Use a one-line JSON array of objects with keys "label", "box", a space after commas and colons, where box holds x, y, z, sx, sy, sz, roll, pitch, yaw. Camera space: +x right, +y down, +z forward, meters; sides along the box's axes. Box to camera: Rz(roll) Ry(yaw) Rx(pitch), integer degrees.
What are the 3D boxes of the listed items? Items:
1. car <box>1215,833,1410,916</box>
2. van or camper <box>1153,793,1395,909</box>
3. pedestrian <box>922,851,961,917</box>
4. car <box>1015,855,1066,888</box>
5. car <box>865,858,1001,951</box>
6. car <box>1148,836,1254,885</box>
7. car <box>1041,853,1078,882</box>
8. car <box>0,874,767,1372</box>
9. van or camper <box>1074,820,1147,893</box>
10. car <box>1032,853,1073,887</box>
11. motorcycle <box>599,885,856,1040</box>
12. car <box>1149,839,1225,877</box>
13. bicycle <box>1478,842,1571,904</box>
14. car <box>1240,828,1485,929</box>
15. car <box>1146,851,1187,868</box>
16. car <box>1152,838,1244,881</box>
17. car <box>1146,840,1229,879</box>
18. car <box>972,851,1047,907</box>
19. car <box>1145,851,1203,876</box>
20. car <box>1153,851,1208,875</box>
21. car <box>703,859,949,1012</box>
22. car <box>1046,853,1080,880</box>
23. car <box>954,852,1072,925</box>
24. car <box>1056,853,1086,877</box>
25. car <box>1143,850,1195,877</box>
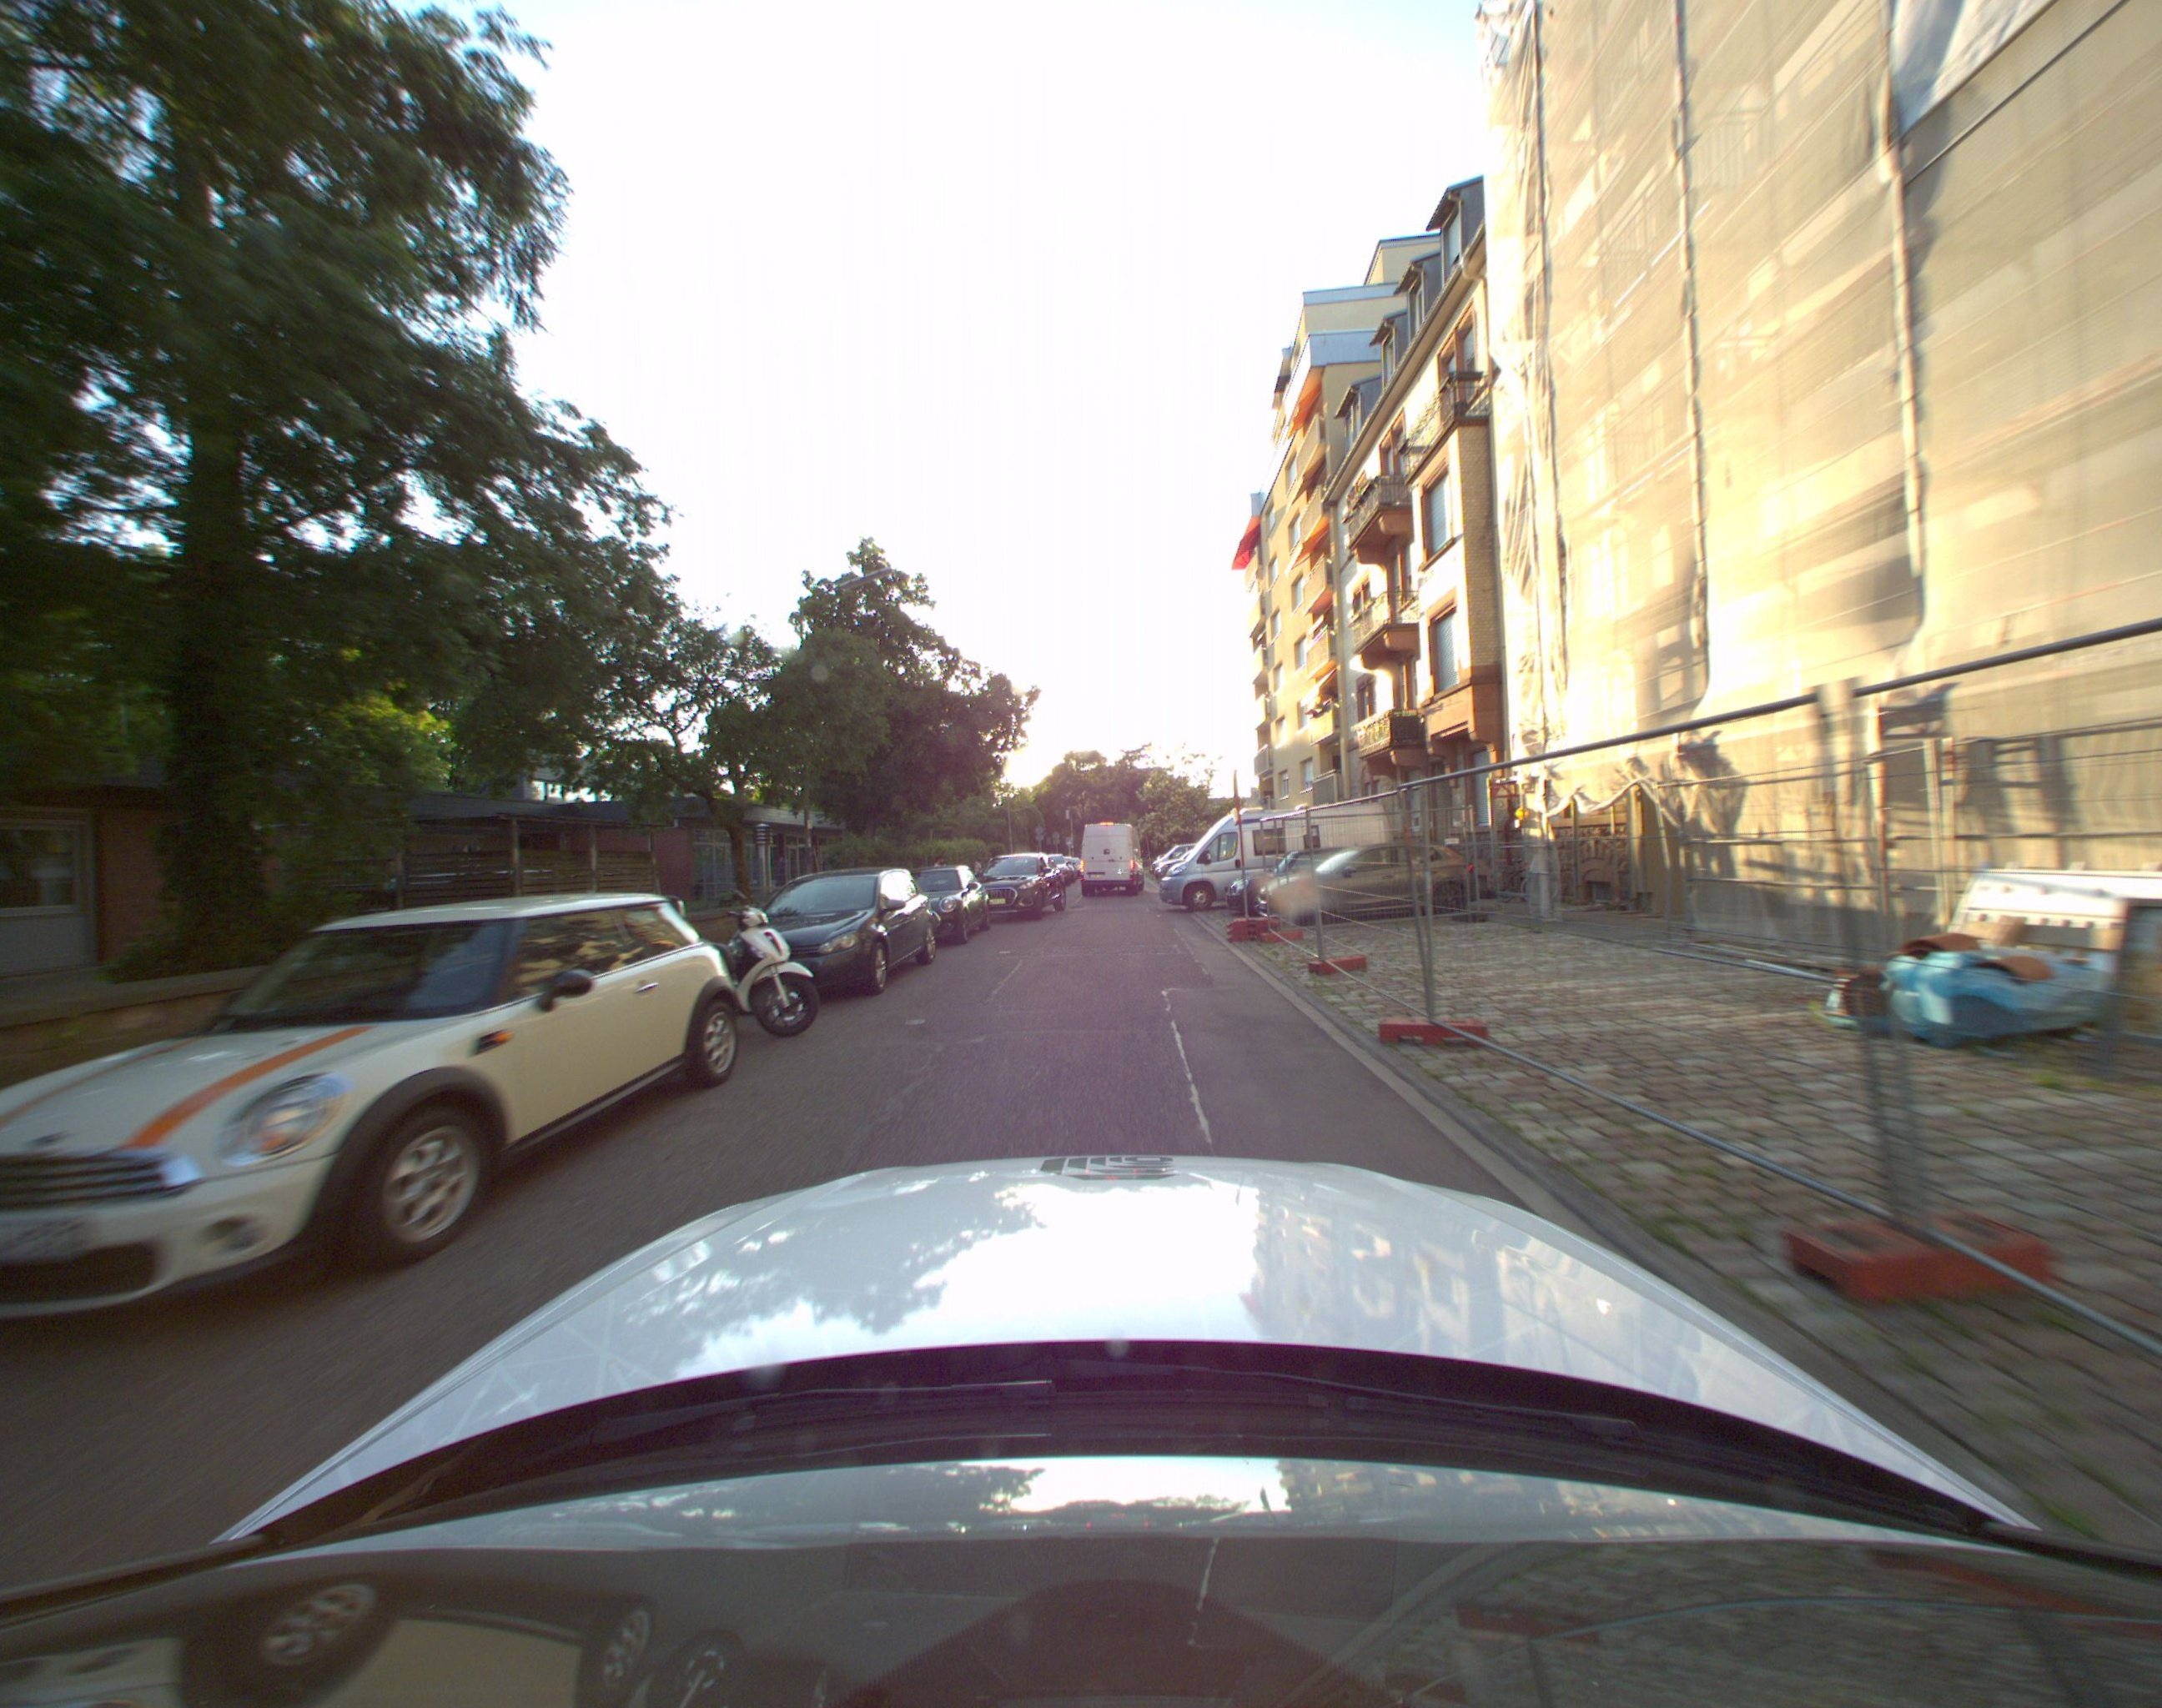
[{"label": "car", "box": [5.185, 0.471, 18.654, 3.918, 1.486, 1.788, -5, -2, 3]}, {"label": "van or camper", "box": [4.964, -0.065, 21.604, 5.907, 2.770, 2.110, -1, 0, 1]}, {"label": "pedestrian", "box": [-3.988, 0.856, 23.305, 0.934, 1.830, 0.787, -1, -1, 1]}, {"label": "car", "box": [-1.825, 0.790, 37.955, 1.986, 1.398, 4.002, -2, 0, 2]}, {"label": "car", "box": [-2.768, 0.886, 16.122, 1.630, 1.478, 3.996, -4, 0, 4]}, {"label": "car", "box": [5.616, 0.316, 38.596, 4.689, 2.145, 2.000, -2, 0, 1]}, {"label": "car", "box": [-1.221, 0.786, 48.376, 1.986, 1.618, 4.001, -1, 0, 1]}, {"label": "car", "box": [-3.366, 0.934, 4.498, 1.595, 1.431, 3.804, -5, 0, 1]}, {"label": "van or camper", "box": [1.284, 0.098, 31.507, 2.442, 2.547, 6.092, -1, 0, 5]}, {"label": "car", "box": [-1.488, 0.807, 43.171, 1.988, 1.662, 3.997, -2, 0, -2]}, {"label": "motorcycle", "box": [-3.352, 0.984, 7.768, 2.147, 1.303, 0.884, -2, -1, 16]}, {"label": "car", "box": [6.551, 0.240, 50.807, 4.479, 2.230, 2.033, -1, 0, 1]}, {"label": "bicycle", "box": [8.896, 0.364, 16.438, 0.629, 1.168, 2.032, -2, 0, -3]}, {"label": "car", "box": [5.369, 0.450, 15.934, 3.977, 1.515, 2.018, -5, 0, -2]}, {"label": "car", "box": [8.754, 0.575, 84.027, 3.976, 1.618, 1.999, -2, 0, -2]}, {"label": "car", "box": [6.252, 0.311, 44.022, 4.689, 2.145, 2.000, -2, 0, 1]}, {"label": "car", "box": [6.335, 0.317, 48.703, 4.689, 2.145, 2.000, -2, 0, 1]}, {"label": "car", "box": [-2.337, 0.801, 27.630, 1.775, 1.631, 4.005, -5, 0, 4]}, {"label": "car", "box": [6.667, 0.682, 58.755, 3.970, 1.728, 2.002, -1, 0, 3]}, {"label": "car", "box": [7.520, 0.678, 61.767, 3.970, 1.728, 2.002, -1, 0, 3]}, {"label": "car", "box": [-3.073, 0.883, 10.855, 1.709, 1.496, 4.362, -4, 0, 1]}, {"label": "car", "box": [-1.137, 0.792, 52.691, 1.986, 1.618, 4.001, -1, 0, 1]}, {"label": "car", "box": [-1.580, 0.787, 20.743, 1.793, 1.569, 4.578, -3, 0, 10]}, {"label": "car", "box": [-0.710, 0.795, 58.402, 1.986, 1.618, 4.001, -1, 0, 1]}, {"label": "car", "box": [6.953, 0.724, 64.445, 3.969, 2.013, 2.002, -2, 0, 4]}]
